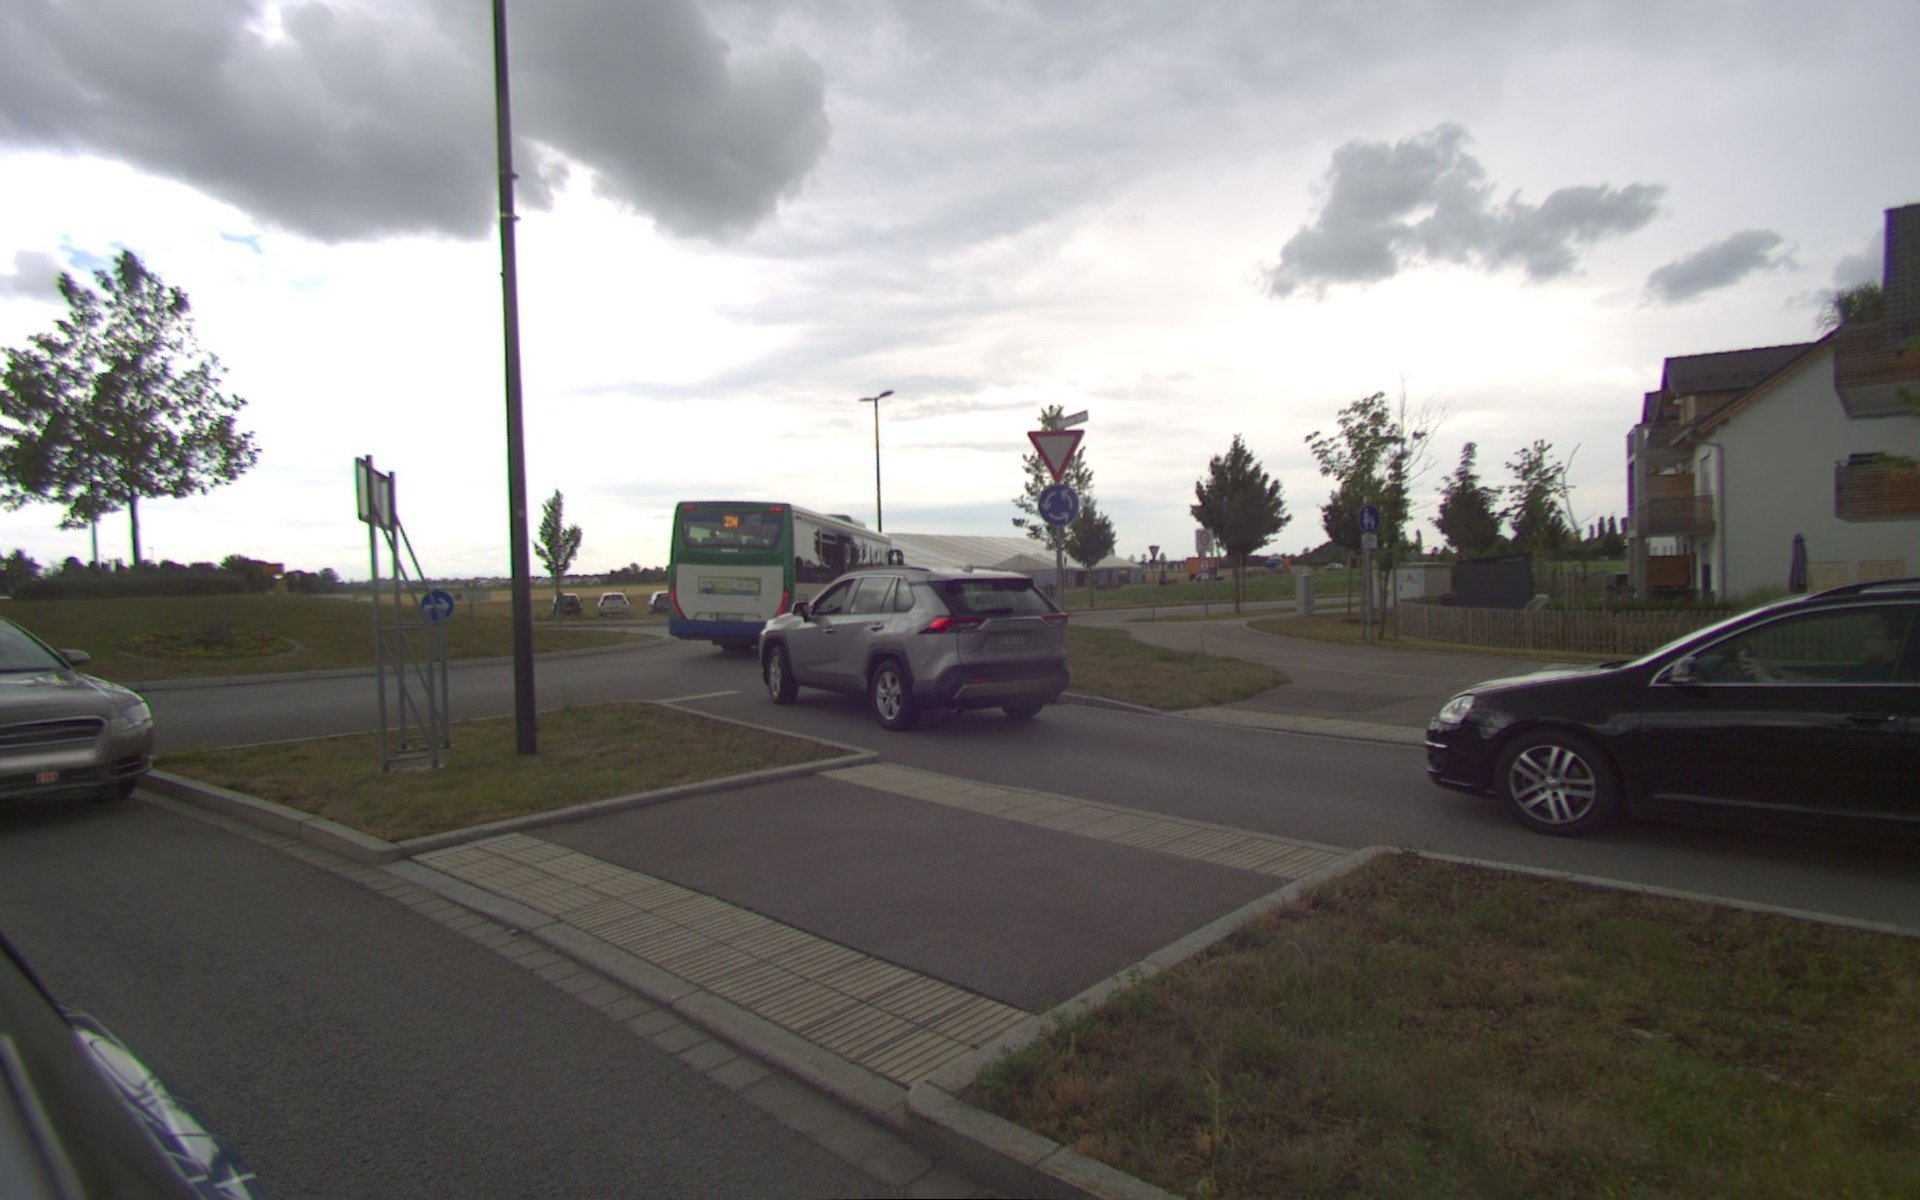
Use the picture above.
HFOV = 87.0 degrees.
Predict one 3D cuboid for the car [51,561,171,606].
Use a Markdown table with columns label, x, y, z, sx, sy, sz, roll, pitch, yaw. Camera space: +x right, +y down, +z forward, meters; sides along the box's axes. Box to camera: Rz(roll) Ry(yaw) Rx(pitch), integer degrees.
| label | x | y | z | sx | sy | sz | roll | pitch | yaw |
| --- | --- | --- | --- | --- | --- | --- | --- | --- | --- |
| car | -33.820 | -0.616 | 40.461 | 1.967 | 1.696 | 4.009 | -1 | 0 | -11 |

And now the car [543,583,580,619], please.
| label | x | y | z | sx | sy | sz | roll | pitch | yaw |
| --- | --- | --- | --- | --- | --- | --- | --- | --- | --- |
| car | -23.700 | 0.080 | 60.093 | 1.965 | 2.029 | 4.013 | -1 | 0 | -23 |

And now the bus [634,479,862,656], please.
| label | x | y | z | sx | sy | sz | roll | pitch | yaw |
| --- | --- | --- | --- | --- | --- | --- | --- | --- | --- |
| bus | -4.340 | -0.597 | 22.358 | 2.958 | 3.305 | 6.470 | -1 | 0 | 8 |

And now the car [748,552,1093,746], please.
| label | x | y | z | sx | sy | sz | roll | pitch | yaw |
| --- | --- | --- | --- | --- | --- | --- | --- | --- | --- |
| car | -0.667 | 0.390 | 11.356 | 1.801 | 1.735 | 4.411 | -1 | 1 | -34 |

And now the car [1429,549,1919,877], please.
| label | x | y | z | sx | sy | sz | roll | pitch | yaw |
| --- | --- | --- | --- | --- | --- | --- | --- | --- | --- |
| car | 5.023 | 0.508 | 5.267 | 4.338 | 1.500 | 1.805 | -1 | 0 | 44 |

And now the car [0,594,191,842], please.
| label | x | y | z | sx | sy | sz | roll | pitch | yaw |
| --- | --- | --- | --- | --- | --- | --- | --- | --- | --- |
| car | -7.502 | 0.720 | 7.089 | 3.976 | 1.477 | 1.688 | 0 | 1 | 25 |

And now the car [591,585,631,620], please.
| label | x | y | z | sx | sy | sz | roll | pitch | yaw |
| --- | --- | --- | --- | --- | --- | --- | --- | --- | --- |
| car | -21.005 | 0.141 | 60.851 | 1.965 | 2.029 | 4.013 | -1 | 0 | -23 |

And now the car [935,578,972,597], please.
| label | x | y | z | sx | sy | sz | roll | pitch | yaw |
| --- | --- | --- | --- | --- | --- | --- | --- | --- | --- |
| car | -0.660 | -1.348 | 109.191 | 1.992 | 2.029 | 4.520 | -1 | 0 | 30 |

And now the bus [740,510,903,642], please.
| label | x | y | z | sx | sy | sz | roll | pitch | yaw |
| --- | --- | --- | --- | --- | --- | --- | --- | --- | --- |
| bus | -3.713 | -0.602 | 28.963 | 2.958 | 3.305 | 6.686 | -1 | 0 | 7 |
